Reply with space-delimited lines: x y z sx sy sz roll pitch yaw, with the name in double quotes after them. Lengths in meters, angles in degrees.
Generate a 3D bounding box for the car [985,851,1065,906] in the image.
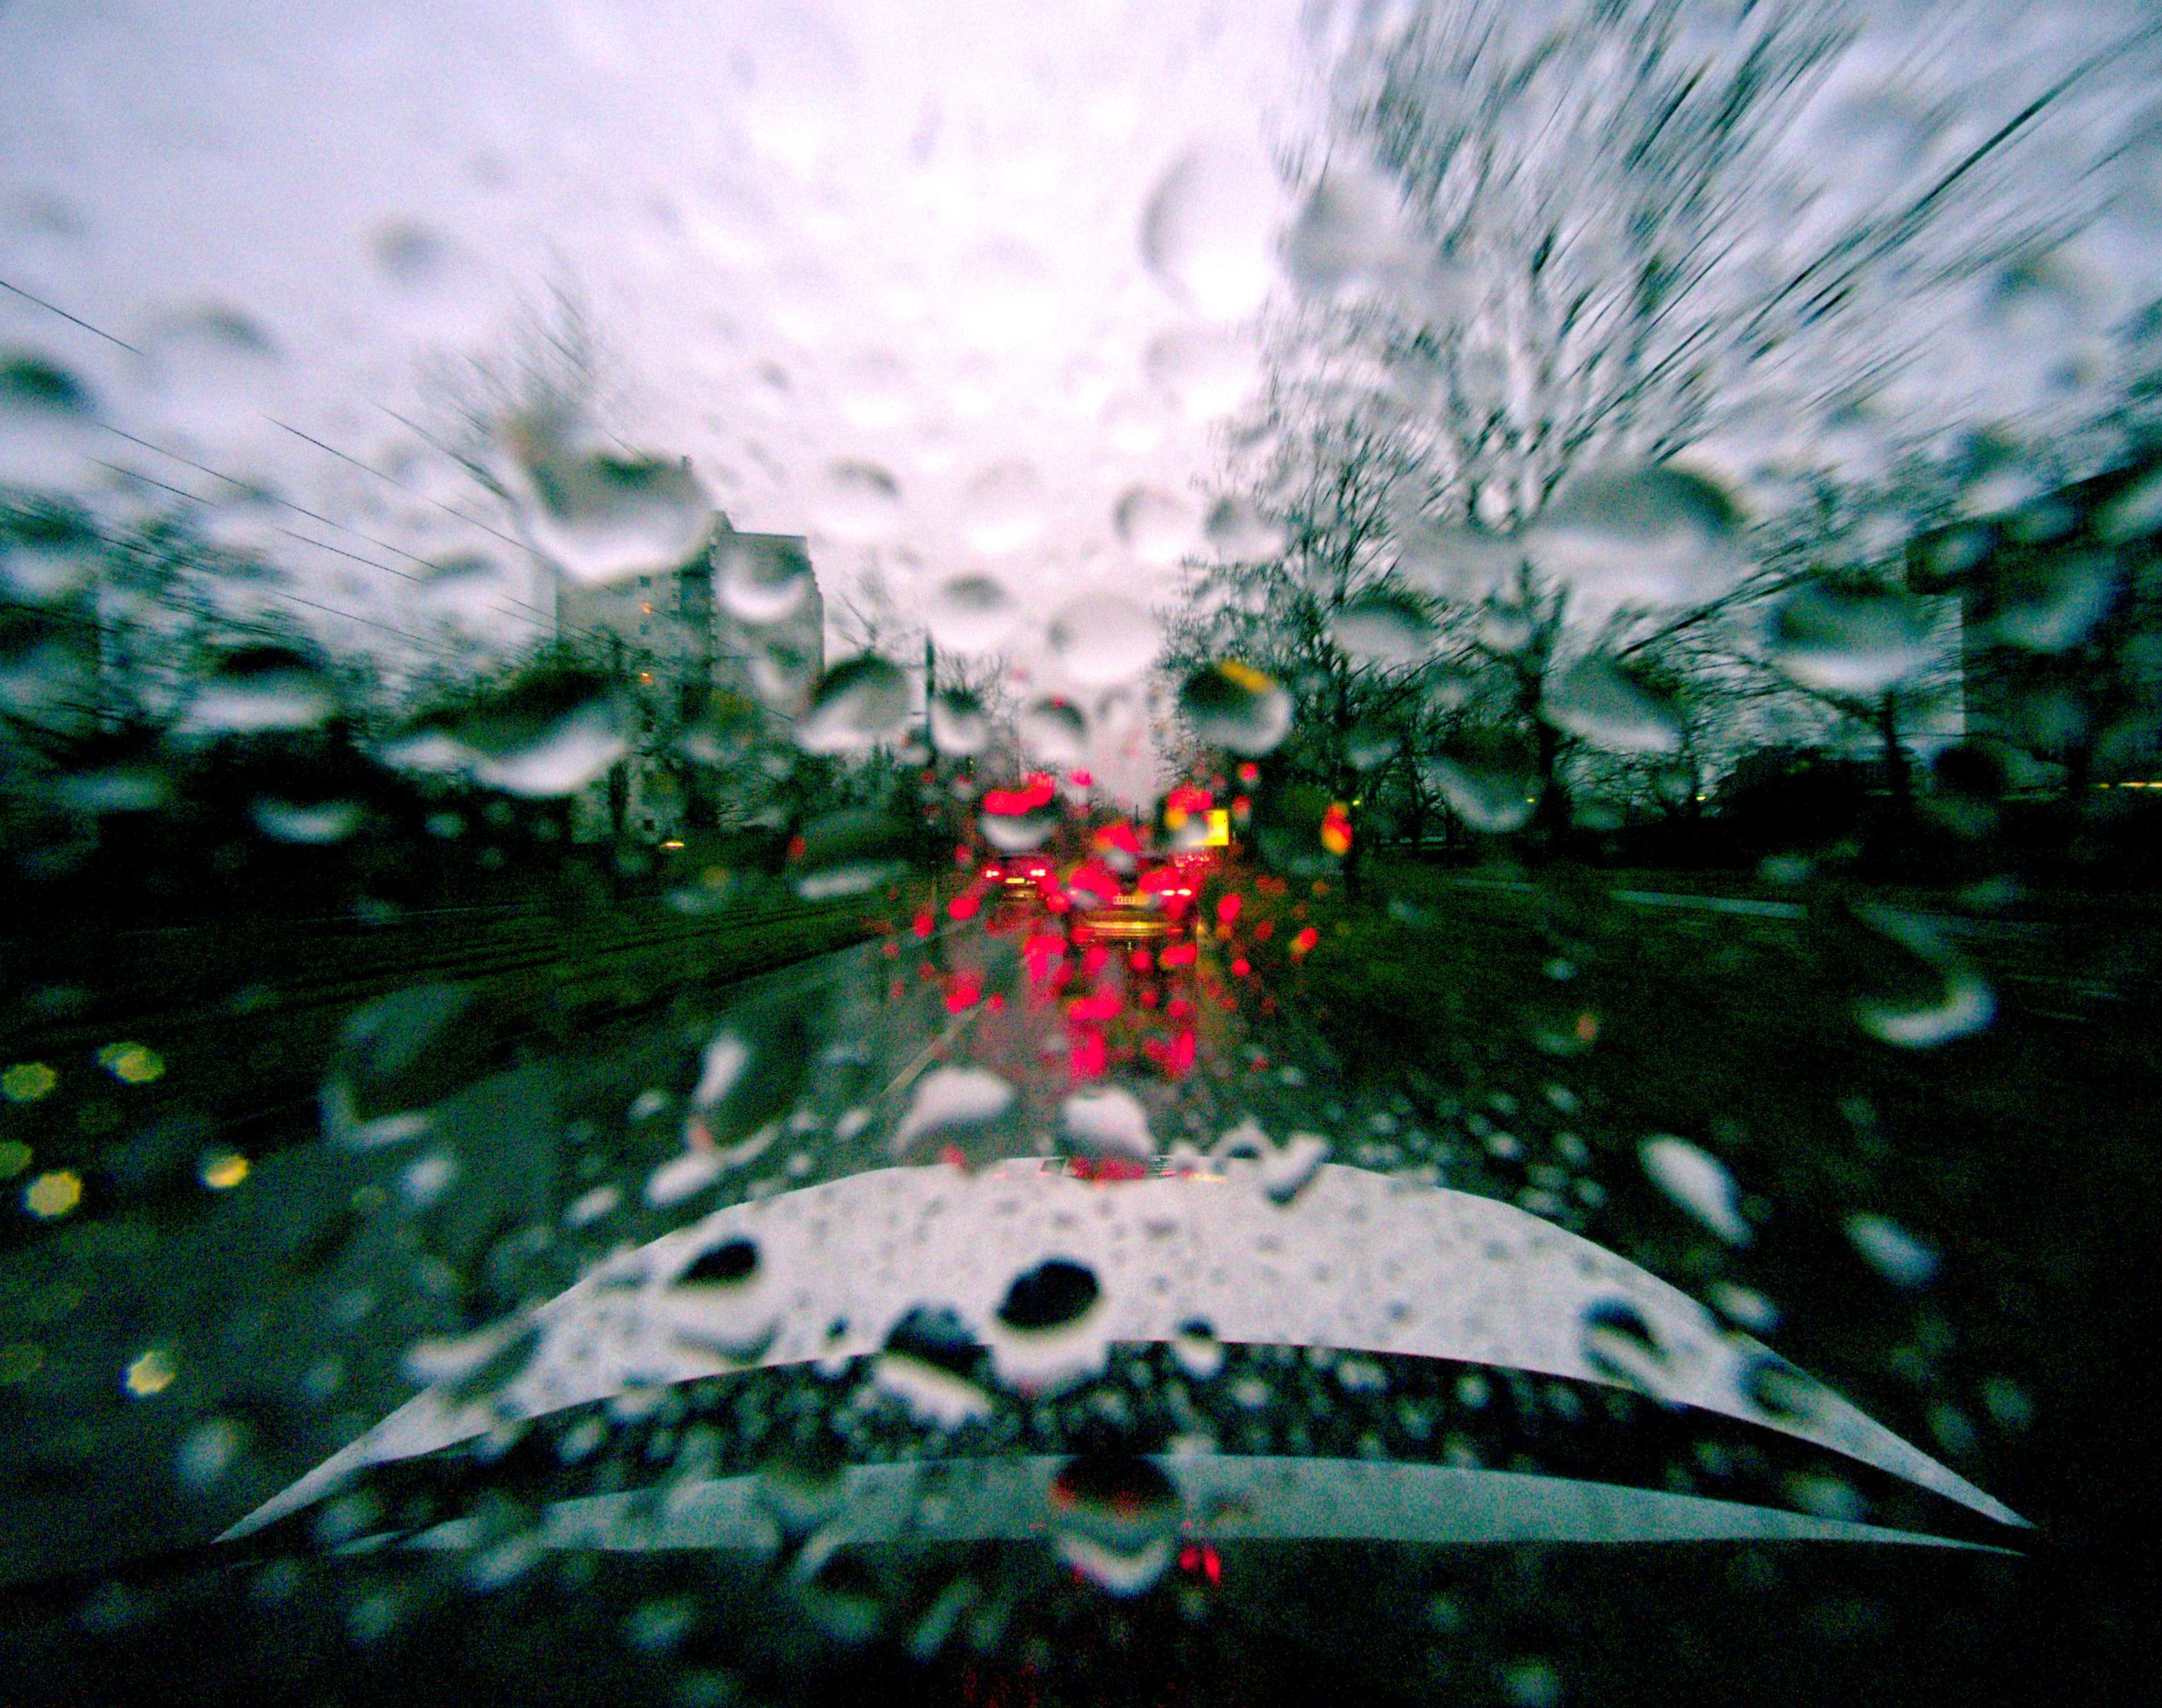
-1.581 0.673 24.462 1.872 1.459 4.003 -1 0 3 "car"

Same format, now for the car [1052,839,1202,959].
0.671 0.591 12.883 1.991 1.584 4.002 -1 0 2 "car"

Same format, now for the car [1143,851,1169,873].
5.438 0.564 59.252 1.701 1.558 4.000 -1 0 3 "car"

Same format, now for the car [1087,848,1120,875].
1.369 0.451 51.127 1.874 1.593 3.999 -1 0 0 "car"
